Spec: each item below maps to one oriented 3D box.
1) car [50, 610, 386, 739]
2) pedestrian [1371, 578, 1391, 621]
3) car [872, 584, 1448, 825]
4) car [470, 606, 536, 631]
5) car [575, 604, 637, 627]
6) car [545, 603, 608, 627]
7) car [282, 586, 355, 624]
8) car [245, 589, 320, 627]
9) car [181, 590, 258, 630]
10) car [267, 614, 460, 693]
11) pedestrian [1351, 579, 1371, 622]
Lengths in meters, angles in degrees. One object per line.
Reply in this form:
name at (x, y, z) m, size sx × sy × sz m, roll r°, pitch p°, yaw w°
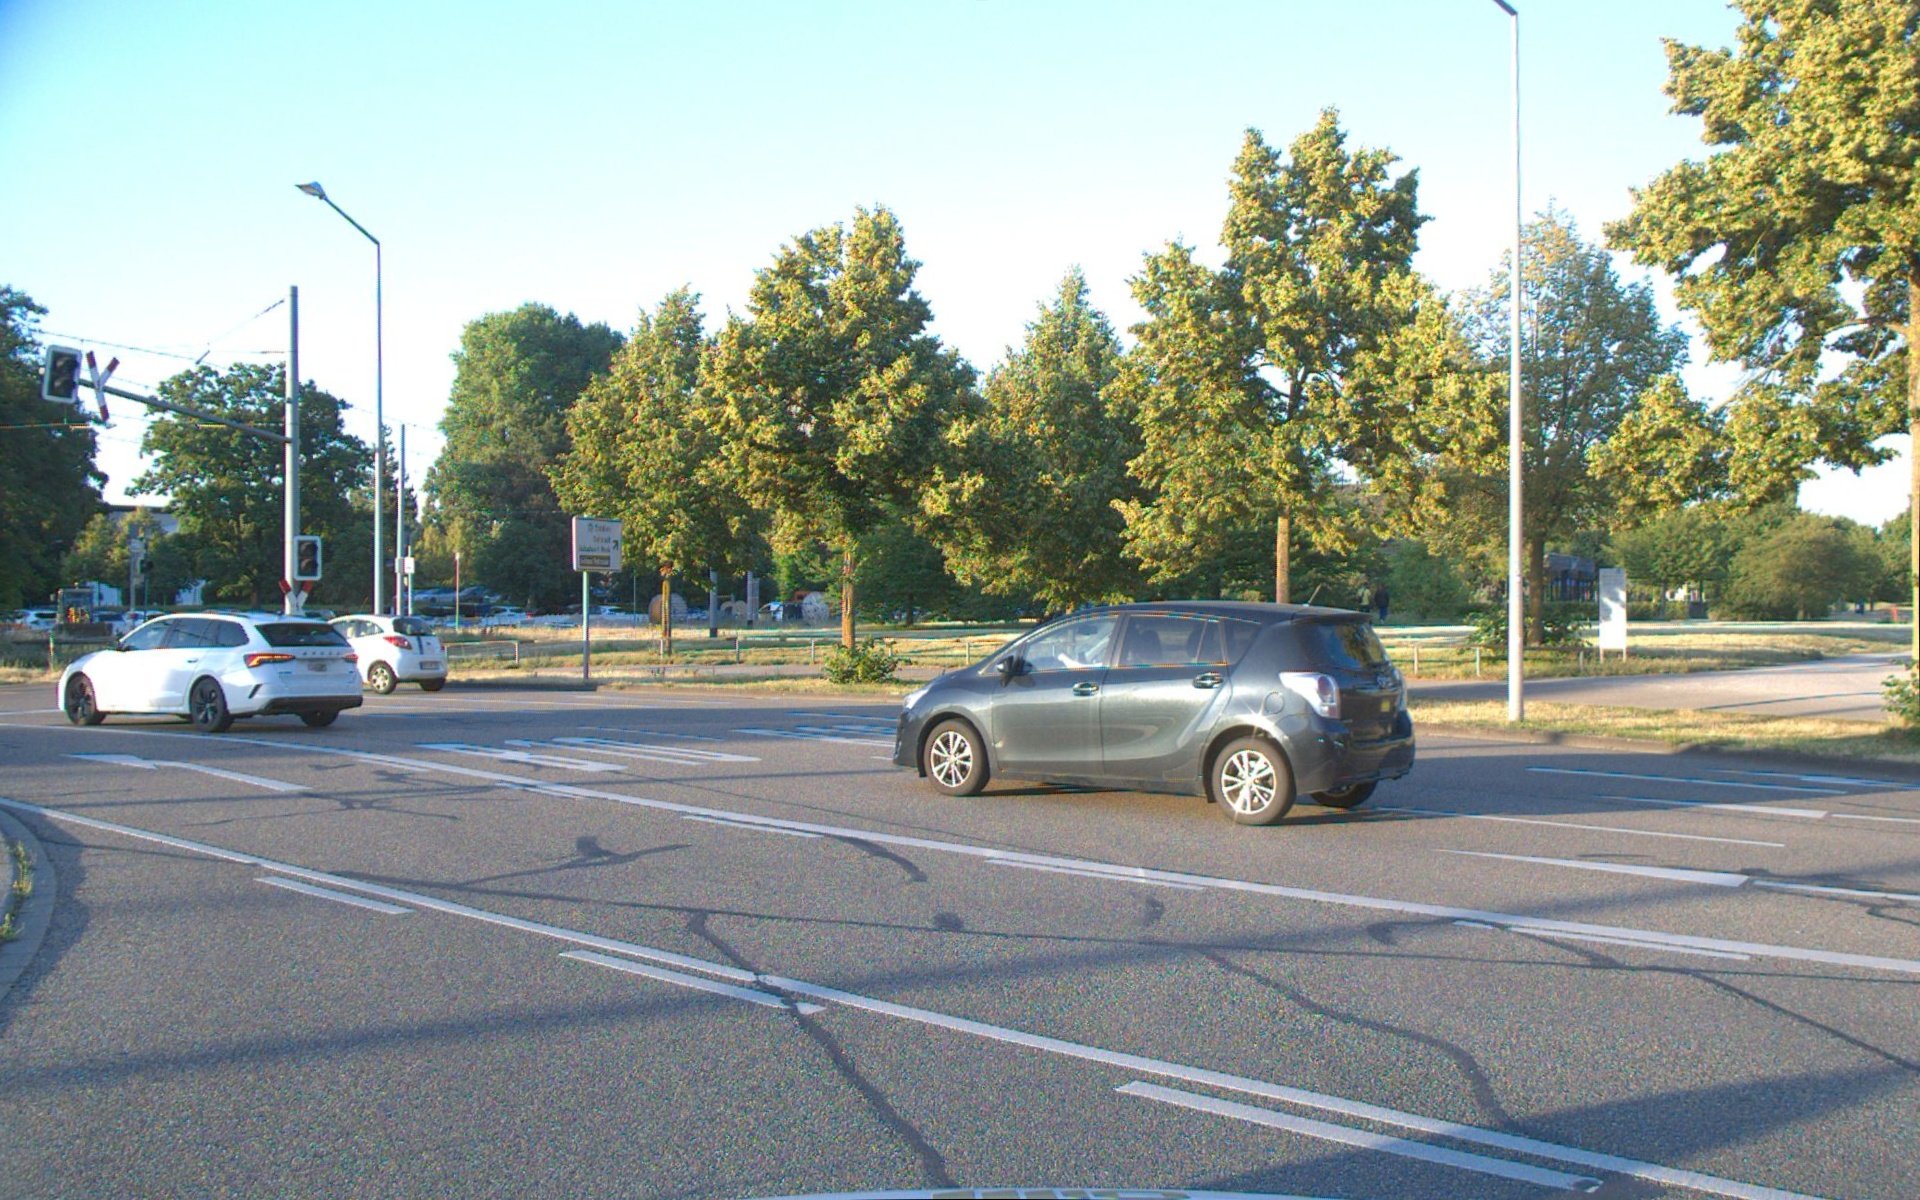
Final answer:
car at (-9.620, 0.883, 21.342) m, size 4.451 × 1.474 × 1.724 m, roll 0°, pitch 1°, yaw 31°
pedestrian at (16.390, -0.007, 64.360) m, size 0.521 × 1.655 × 0.616 m, roll 0°, pitch 0°, yaw 43°
car at (1.527, 0.739, 13.460) m, size 4.367 × 1.662 × 1.796 m, roll 0°, pitch -1°, yaw 37°
car at (-29.731, 1.218, 107.498) m, size 3.913 × 1.578 × 1.996 m, roll 0°, pitch 0°, yaw 30°
car at (-24.772, 1.072, 115.743) m, size 3.913 × 1.578 × 1.996 m, roll 0°, pitch 0°, yaw 30°
car at (-26.346, 1.005, 113.670) m, size 3.913 × 1.578 × 1.996 m, roll 0°, pitch 0°, yaw 30°
car at (-37.162, 0.269, 95.857) m, size 3.914 × 2.135 × 1.995 m, roll 0°, pitch 0°, yaw 31°
car at (-38.332, 0.447, 93.556) m, size 3.914 × 2.135 × 1.995 m, roll 0°, pitch 0°, yaw 31°
car at (-40.557, 0.519, 90.573) m, size 3.914 × 2.135 × 1.995 m, roll 0°, pitch 0°, yaw 31°
car at (-11.696, 1.013, 32.435) m, size 3.404 × 1.468 × 1.554 m, roll 0°, pitch -1°, yaw 22°
pedestrian at (15.626, 0.016, 64.448) m, size 0.576 × 1.655 × 0.524 m, roll 0°, pitch 0°, yaw -43°
